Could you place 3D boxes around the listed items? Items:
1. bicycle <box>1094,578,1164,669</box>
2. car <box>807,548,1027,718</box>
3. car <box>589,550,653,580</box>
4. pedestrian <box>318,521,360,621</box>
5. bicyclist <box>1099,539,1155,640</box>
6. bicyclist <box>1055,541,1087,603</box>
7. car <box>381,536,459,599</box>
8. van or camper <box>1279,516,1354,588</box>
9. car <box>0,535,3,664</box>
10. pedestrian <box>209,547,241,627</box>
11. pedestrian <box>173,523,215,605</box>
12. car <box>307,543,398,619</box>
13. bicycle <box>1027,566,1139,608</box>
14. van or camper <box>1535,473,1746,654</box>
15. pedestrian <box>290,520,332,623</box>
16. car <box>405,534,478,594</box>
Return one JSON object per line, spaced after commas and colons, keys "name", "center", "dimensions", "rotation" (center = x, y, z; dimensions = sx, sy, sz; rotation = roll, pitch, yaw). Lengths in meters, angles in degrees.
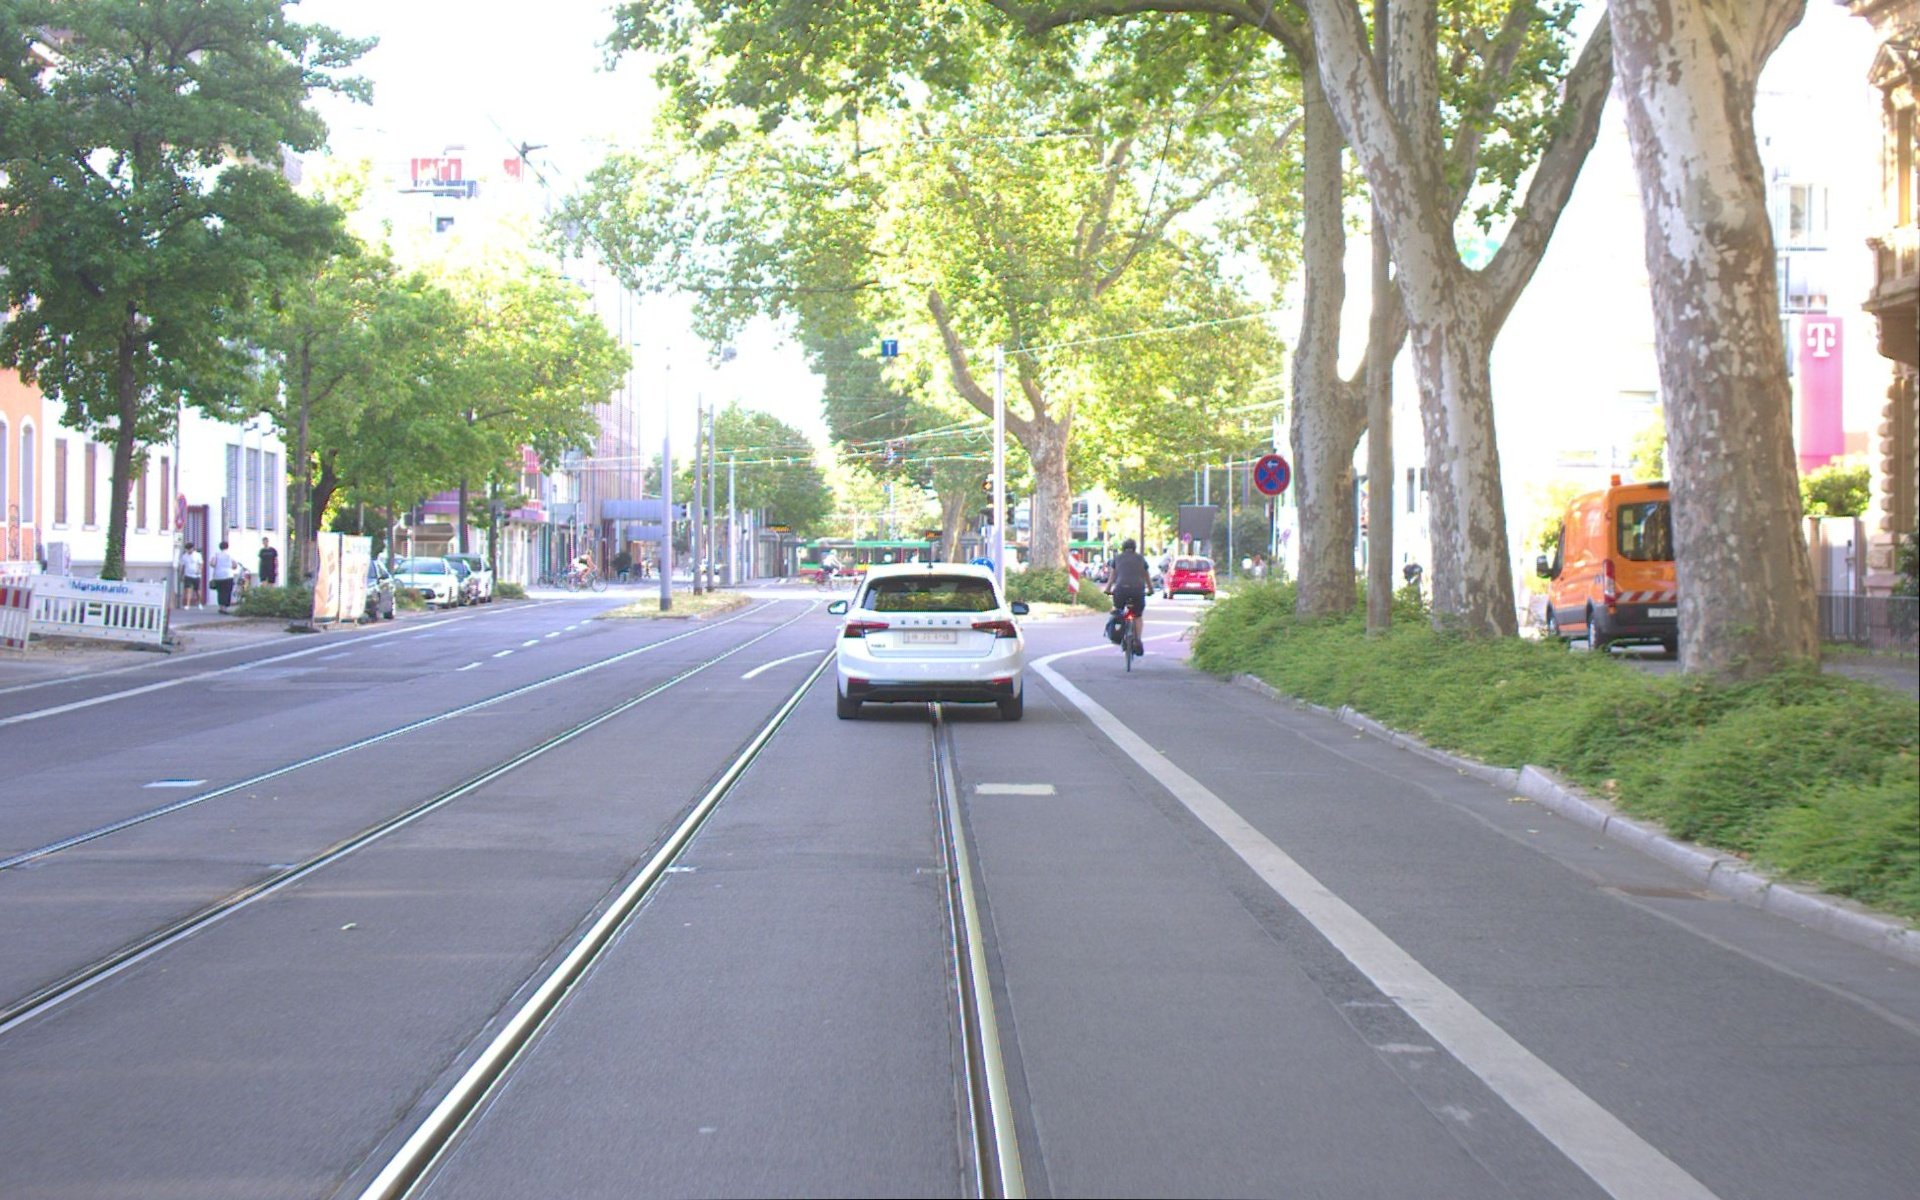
{"name": "bicycle", "center": [2.253, 0.294, 46.161], "dimensions": [0.680, 1.151, 2.964], "rotation": [2, 1, -2]}
{"name": "car", "center": [-0.465, 0.272, 32.465], "dimensions": [1.842, 1.475, 3.839], "rotation": [1, 1, -4]}
{"name": "car", "center": [-21.555, -2.231, 218.654], "dimensions": [3.794, 1.812, 1.803], "rotation": [2, 0, 5]}
{"name": "pedestrian", "center": [-12.555, -0.593, 69.520], "dimensions": [0.646, 1.996, 0.749], "rotation": [1, 1, 3]}
{"name": "bicyclist", "center": [2.241, -0.141, 46.133], "dimensions": [0.679, 1.334, 0.525], "rotation": [2, 0, -2]}
{"name": "bicyclist", "center": [2.846, -0.713, 88.365], "dimensions": [0.737, 1.583, 0.586], "rotation": [0, 1, 11]}
{"name": "car", "center": [-15.381, -0.938, 98.018], "dimensions": [1.793, 1.720, 3.785], "rotation": [1, 1, -3]}
{"name": "van or camper", "center": [11.989, -1.604, 115.737], "dimensions": [1.993, 2.335, 4.000], "rotation": [2, 1, -1]}
{"name": "car", "center": [-12.611, 0.066, 40.711], "dimensions": [1.641, 1.720, 3.785], "rotation": [1, 1, -3]}
{"name": "pedestrian", "center": [-16.439, -0.295, 76.927], "dimensions": [0.600, 1.766, 0.701], "rotation": [2, 0, -7]}
{"name": "pedestrian", "center": [-18.772, -0.889, 84.222], "dimensions": [0.748, 1.996, 0.647], "rotation": [2, 1, 37]}
{"name": "car", "center": [-14.311, -0.462, 81.170], "dimensions": [1.641, 1.720, 3.785], "rotation": [1, 1, -3]}
{"name": "bicycle", "center": [3.157, -0.337, 88.305], "dimensions": [2.771, 0.996, 0.592], "rotation": [2, 0, 13]}
{"name": "van or camper", "center": [9.844, -0.534, 50.133], "dimensions": [2.027, 2.455, 5.108], "rotation": [2, 1, 0]}
{"name": "pedestrian", "center": [-12.691, -0.560, 67.232], "dimensions": [0.601, 1.996, 0.749], "rotation": [1, 1, 3]}
{"name": "car", "center": [-15.584, -1.095, 103.531], "dimensions": [1.793, 1.720, 3.785], "rotation": [1, 1, -3]}
